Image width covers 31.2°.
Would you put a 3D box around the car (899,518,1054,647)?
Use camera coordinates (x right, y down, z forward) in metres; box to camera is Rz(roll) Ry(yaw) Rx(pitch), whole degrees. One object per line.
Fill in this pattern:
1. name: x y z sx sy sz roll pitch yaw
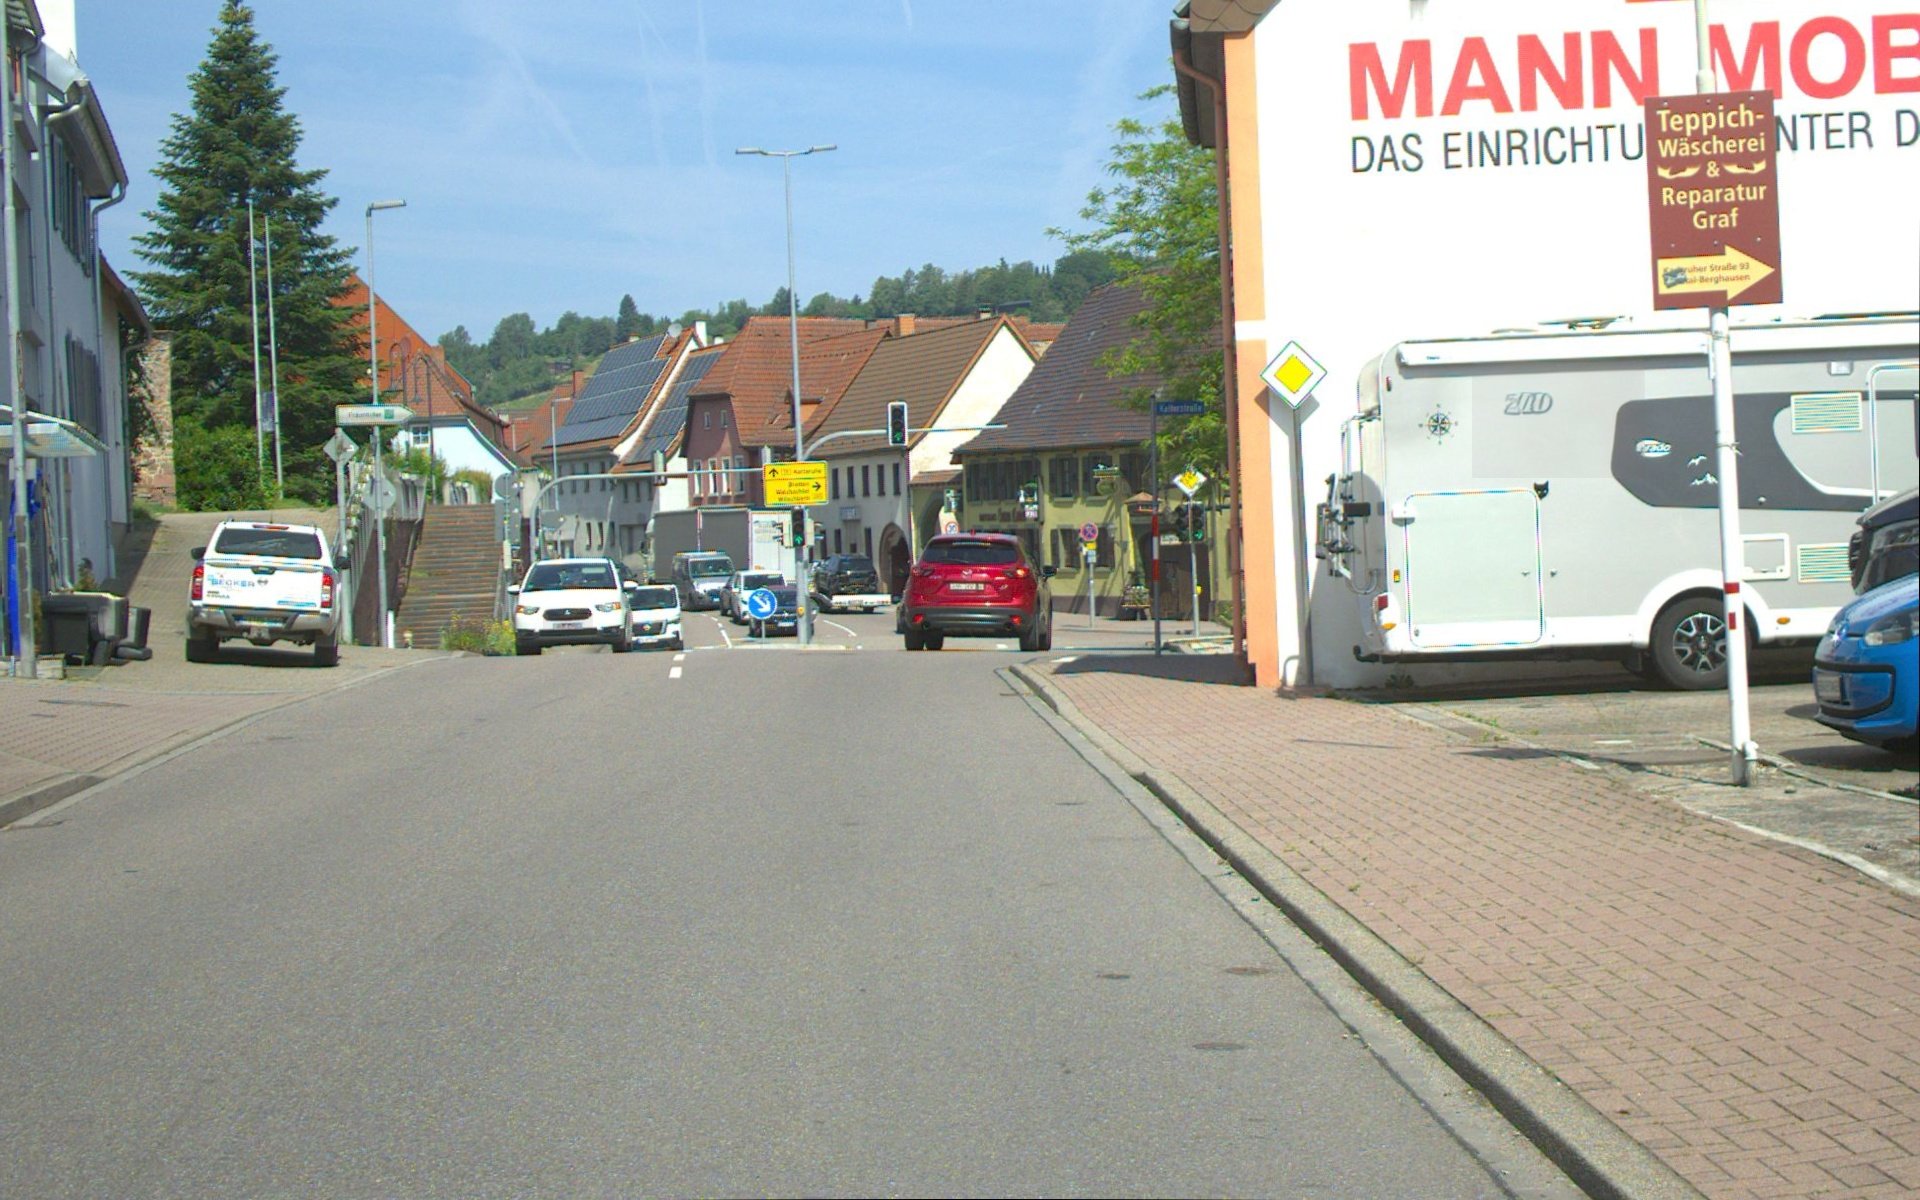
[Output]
1. car: 0.275 -0.281 48.636 1.805 1.657 3.812 -2 2 5

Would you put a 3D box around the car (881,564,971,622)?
1. car: -1.116 -0.230 110.686 1.820 1.733 4.006 -3 2 -16

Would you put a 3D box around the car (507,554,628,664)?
1. car: -6.066 0.103 53.153 1.729 1.536 3.813 -2 2 -6

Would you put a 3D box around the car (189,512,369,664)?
1. car: -8.710 -0.201 44.352 1.804 1.792 5.287 2 1 -7

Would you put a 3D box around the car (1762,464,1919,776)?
1. car: 6.275 0.012 17.790 3.799 1.523 1.582 -2 1 -3

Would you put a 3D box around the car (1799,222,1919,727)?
1. car: 8.263 -0.853 20.702 5.965 2.976 2.315 -2 2 19

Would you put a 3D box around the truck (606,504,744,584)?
1. truck: -12.970 -2.465 155.282 3.158 3.448 10.715 1 0 -22

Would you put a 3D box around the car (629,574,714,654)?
1. car: -7.585 0.332 90.729 1.968 1.926 5.315 -2 1 -3

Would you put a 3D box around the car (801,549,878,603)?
1. car: -4.612 -0.941 131.078 1.846 2.007 4.001 0 1 -18

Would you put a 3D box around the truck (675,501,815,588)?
1. truck: -9.205 -2.356 145.962 3.222 3.537 9.233 0 1 -22

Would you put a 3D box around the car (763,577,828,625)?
1. car: -5.278 0.007 110.752 1.820 1.429 4.249 -1 1 0

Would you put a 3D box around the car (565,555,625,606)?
1. car: -16.592 -0.903 156.255 1.757 2.238 4.554 0 1 -18

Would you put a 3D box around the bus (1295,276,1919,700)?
1. bus: 6.037 -0.905 26.689 6.566 2.895 2.229 -3 0 2

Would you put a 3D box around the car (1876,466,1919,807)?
1. car: 6.204 0.088 14.574 4.161 1.476 1.727 -2 1 3
